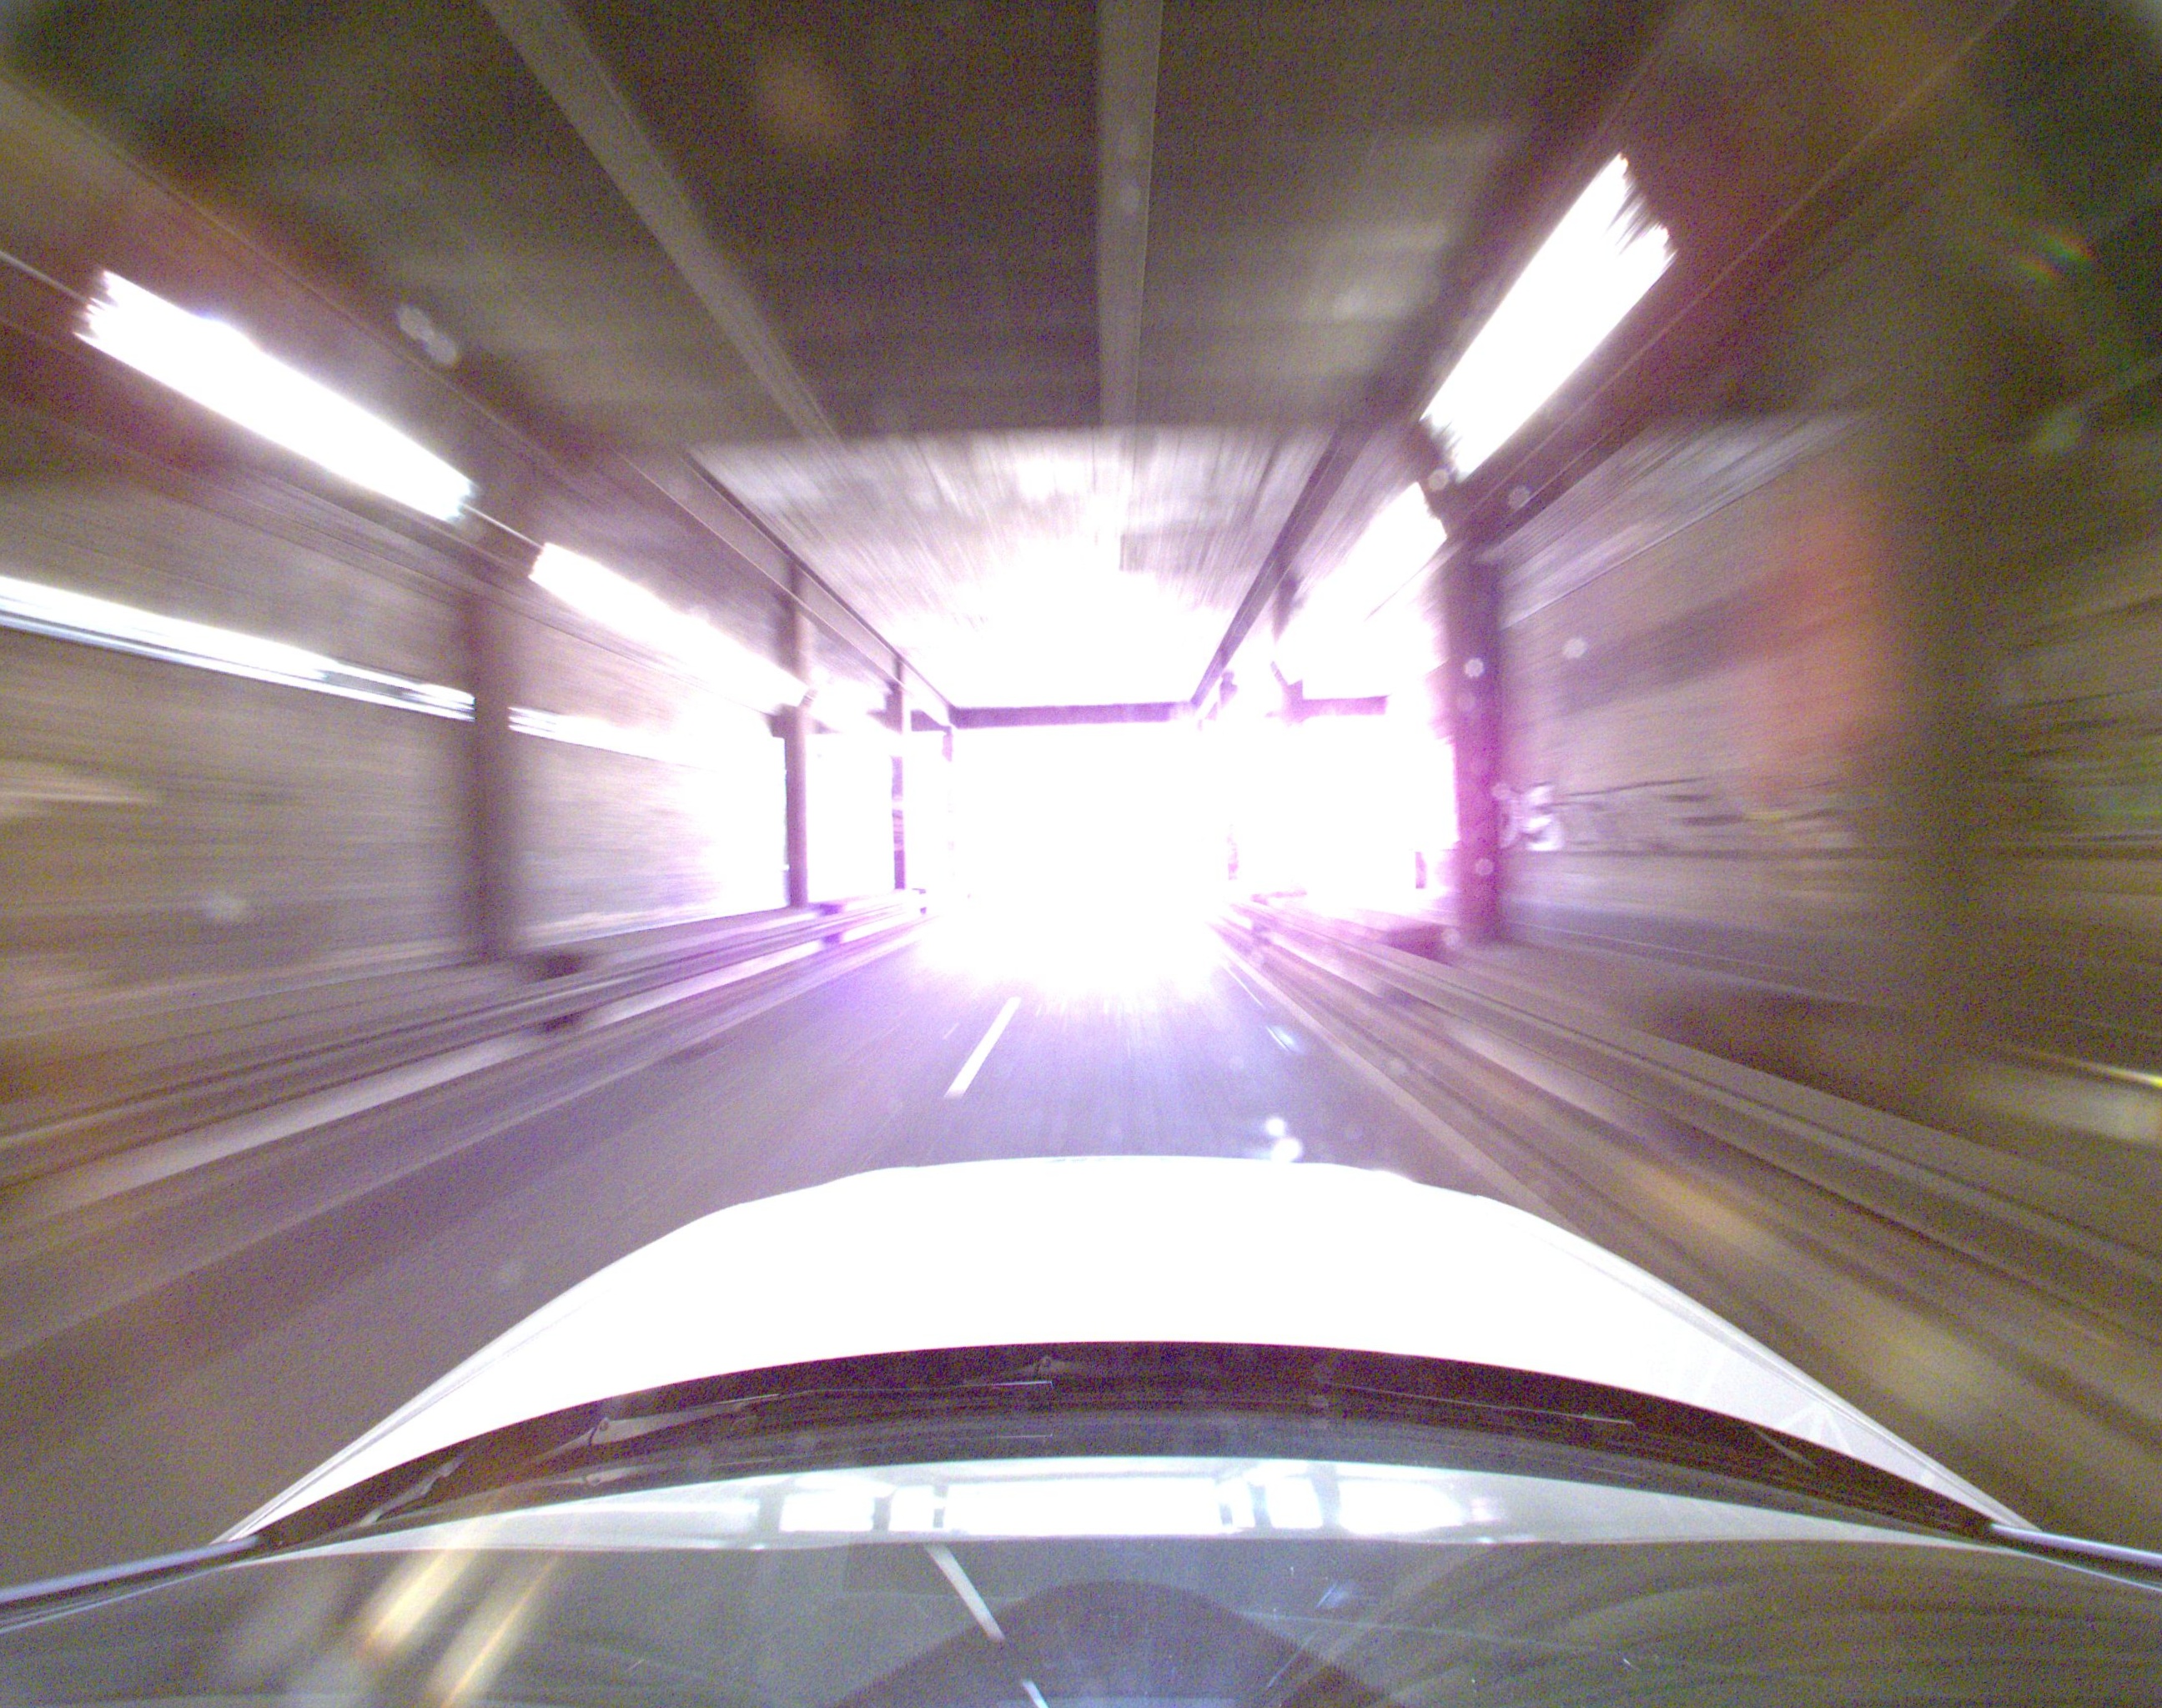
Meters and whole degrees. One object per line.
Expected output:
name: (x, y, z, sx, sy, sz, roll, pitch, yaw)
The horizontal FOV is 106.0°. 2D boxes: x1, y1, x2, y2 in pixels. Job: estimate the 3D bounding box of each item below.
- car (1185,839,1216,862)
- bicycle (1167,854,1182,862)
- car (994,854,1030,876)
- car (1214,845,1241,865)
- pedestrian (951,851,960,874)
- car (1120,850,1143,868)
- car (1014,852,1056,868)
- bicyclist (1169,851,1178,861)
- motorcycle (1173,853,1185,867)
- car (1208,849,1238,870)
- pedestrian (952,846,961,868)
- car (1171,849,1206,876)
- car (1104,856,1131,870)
car: (11.221, -0.360, 76.023, 2.155, 2.009, 4.828, -2, 0, 16)
bicycle: (13.300, 0.624, 115.951, 0.925, 1.056, 3.374, -2, 0, 28)
car: (-4.667, 0.728, 55.460, 1.744, 1.405, 4.420, -1, 0, 3)
car: (12.389, 0.044, 68.757, 1.800, 1.582, 4.017, -2, 0, 16)
pedestrian: (-9.223, 0.646, 59.856, 0.515, 1.640, 0.620, -2, 0, -25)
car: (4.027, 0.380, 64.992, 1.779, 1.394, 4.109, -2, 0, 3)
car: (-4.873, 0.656, 86.247, 3.894, 1.574, 1.911, -2, 0, -31)
bicyclist: (13.122, 0.315, 115.659, 0.925, 1.382, 1.155, -2, 0, 28)
motorcycle: (7.952, 0.464, 65.915, 0.772, 1.082, 2.288, -2, 0, 11)
car: (10.629, 0.379, 60.802, 1.718, 1.500, 4.017, -1, 0, 16)
pedestrian: (-9.431, 0.246, 61.725, 0.490, 1.640, 0.620, -2, 0, -25)
car: (6.570, 0.496, 49.309, 1.936, 1.528, 4.100, -1, 0, 9)
car: (3.963, 0.944, 87.756, 1.795, 1.391, 4.268, -1, 0, 19)
